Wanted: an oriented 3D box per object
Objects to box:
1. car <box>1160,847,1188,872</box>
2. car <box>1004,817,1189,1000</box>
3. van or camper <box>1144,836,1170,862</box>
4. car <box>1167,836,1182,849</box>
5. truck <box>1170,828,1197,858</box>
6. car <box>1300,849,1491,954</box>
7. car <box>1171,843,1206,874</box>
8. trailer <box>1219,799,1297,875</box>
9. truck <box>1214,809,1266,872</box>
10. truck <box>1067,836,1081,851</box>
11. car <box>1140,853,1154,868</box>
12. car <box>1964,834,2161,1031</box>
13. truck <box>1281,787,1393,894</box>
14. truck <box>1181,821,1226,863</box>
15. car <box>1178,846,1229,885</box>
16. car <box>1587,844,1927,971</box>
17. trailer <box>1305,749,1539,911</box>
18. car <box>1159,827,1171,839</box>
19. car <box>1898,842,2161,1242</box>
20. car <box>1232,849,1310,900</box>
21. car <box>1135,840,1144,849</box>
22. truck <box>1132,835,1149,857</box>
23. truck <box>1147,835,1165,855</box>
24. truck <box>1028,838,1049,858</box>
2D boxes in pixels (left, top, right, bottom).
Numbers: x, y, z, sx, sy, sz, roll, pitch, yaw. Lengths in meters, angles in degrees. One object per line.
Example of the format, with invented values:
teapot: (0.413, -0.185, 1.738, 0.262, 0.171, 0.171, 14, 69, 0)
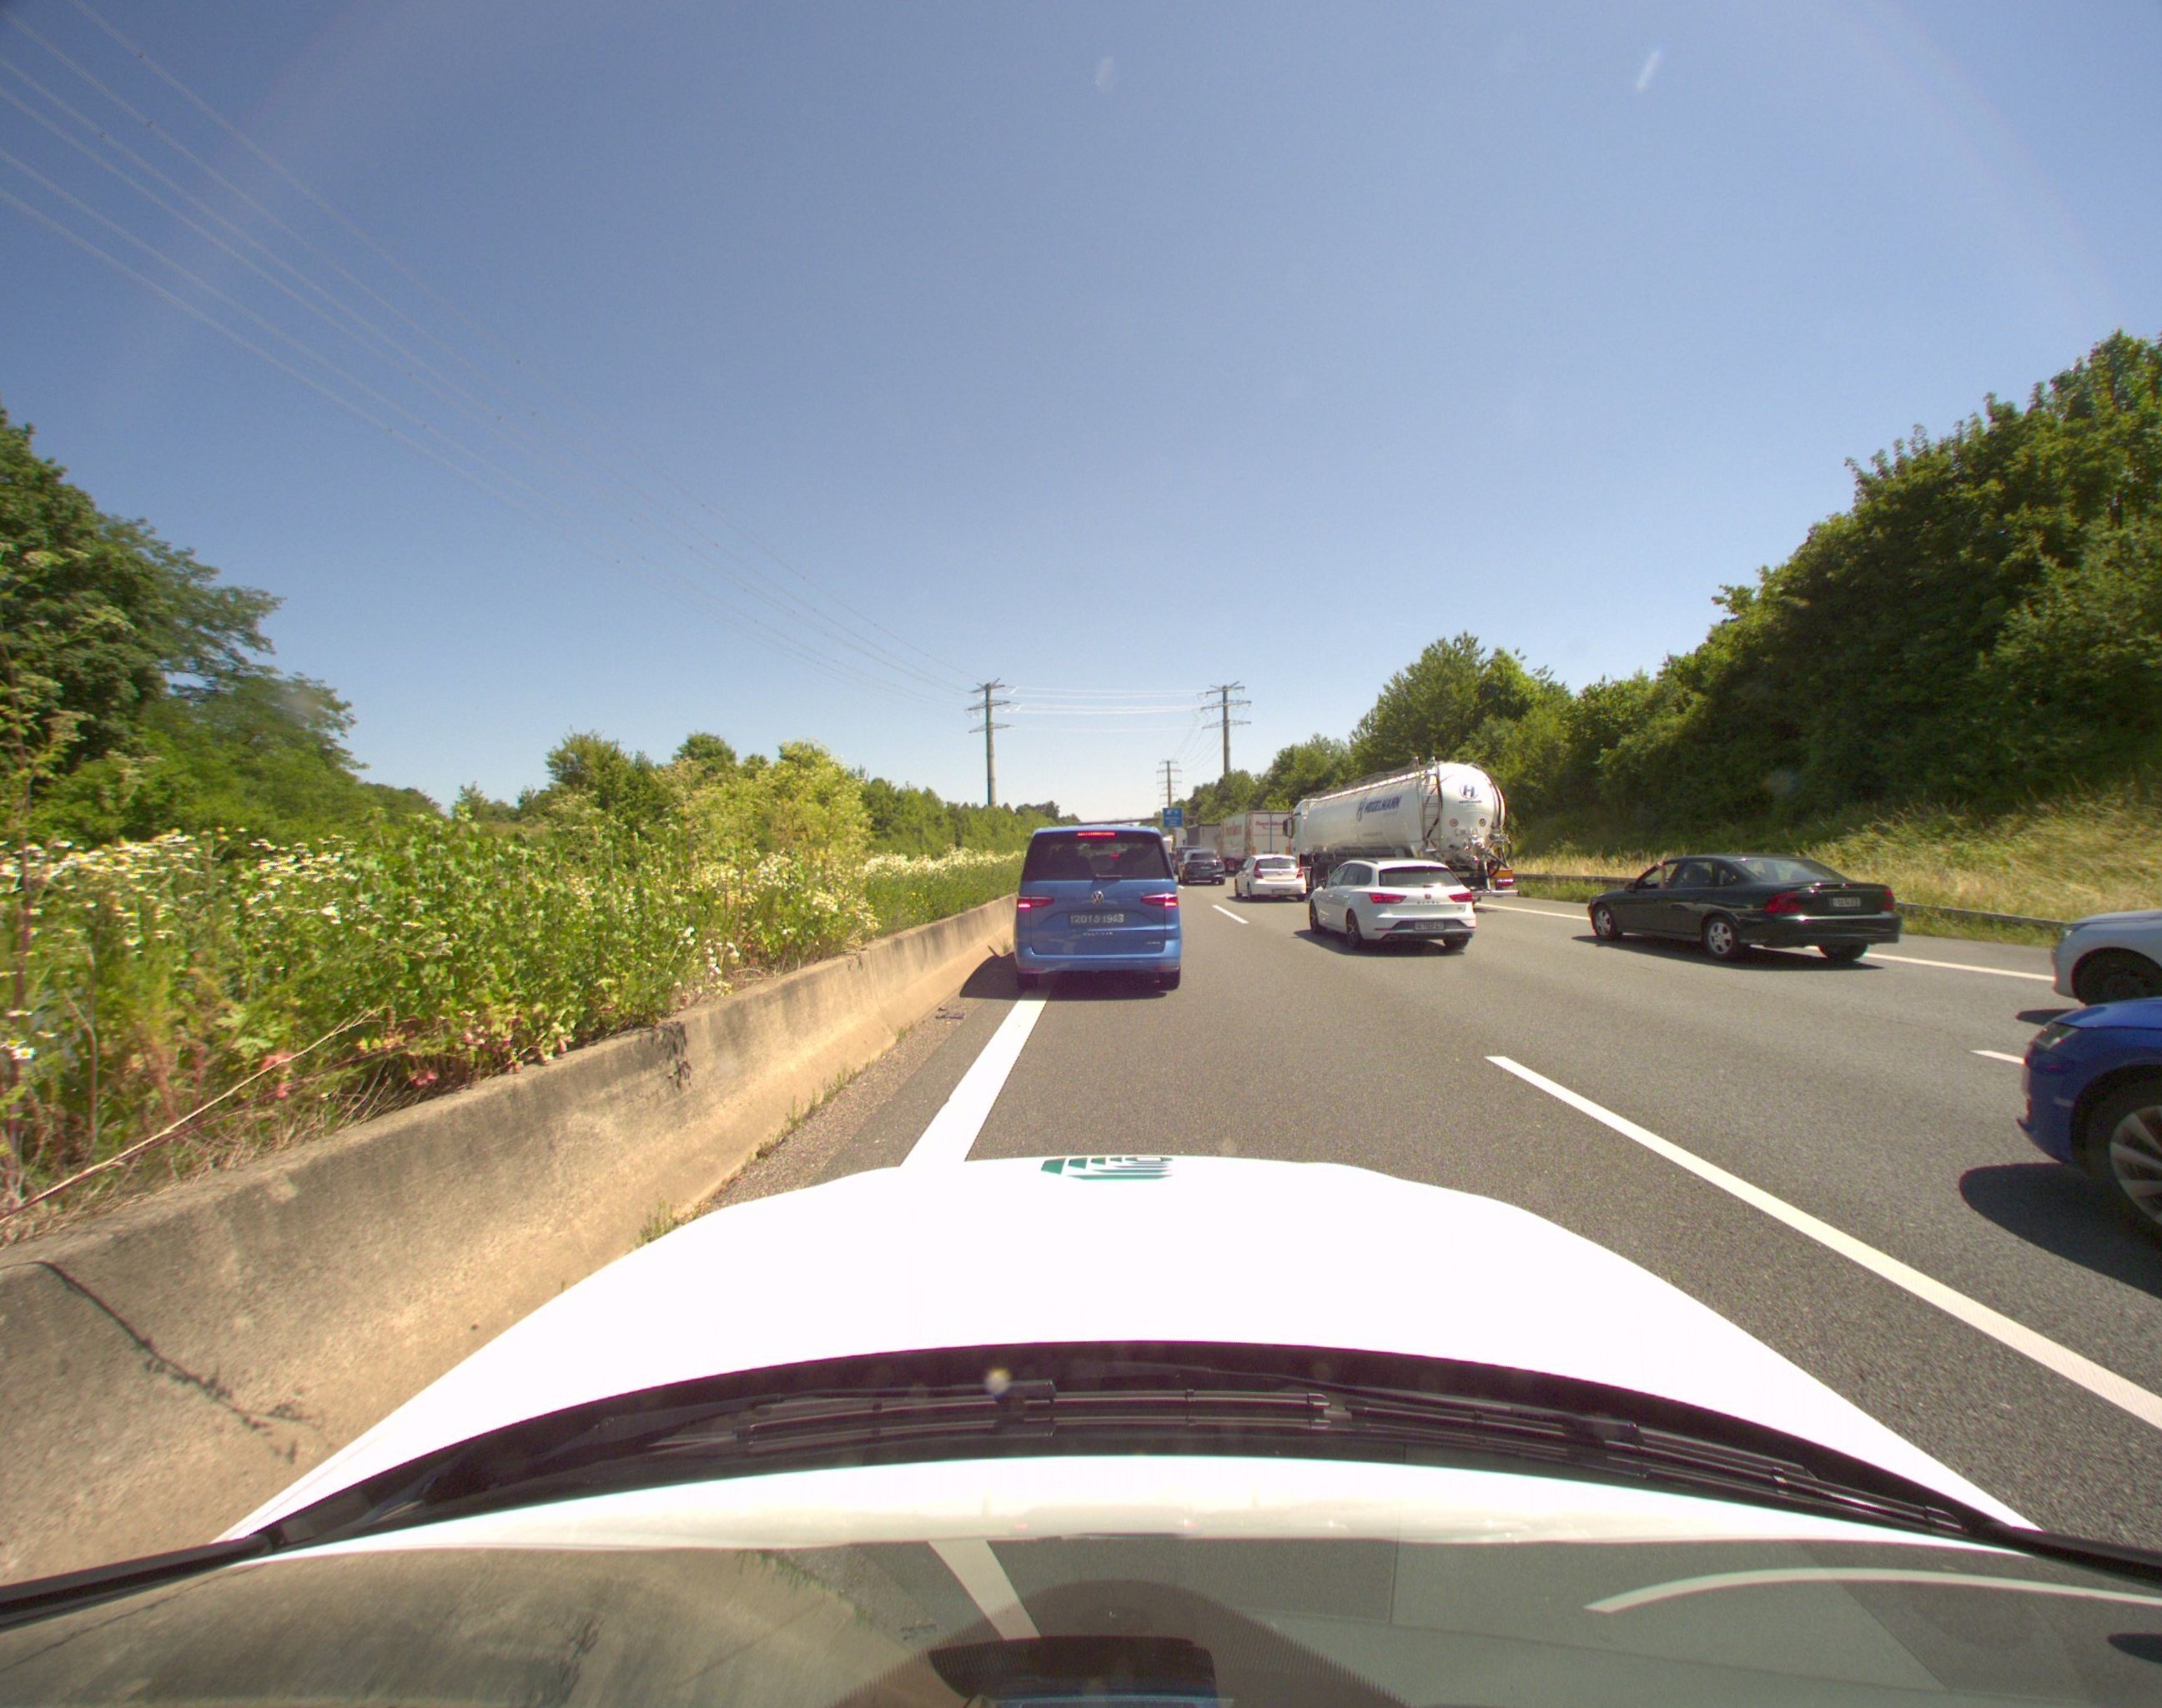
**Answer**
car: (7.794, 0.460, 68.766, 1.916, 1.925, 4.237, -3, -1, 2)
car: (0.256, 0.571, 10.511, 1.912, 1.886, 4.003, -1, 0, 3)
van or camper: (9.259, -0.554, 99.972, 2.944, 3.022, 7.110, -2, -1, 4)
car: (15.027, -1.839, 130.816, 1.985, 2.014, 4.003, -2, -1, 3)
truck: (14.252, -1.446, 114.268, 2.883, 3.766, 13.356, -2, -1, 3)
car: (5.084, 0.721, 13.835, 1.740, 1.443, 4.317, -2, -1, 3)
car: (7.394, 0.333, 56.394, 1.916, 1.925, 4.237, -3, -1, 2)
trailer: (11.729, -0.990, 55.346, 2.901, 4.469, 12.160, -2, 0, 2)
truck: (11.981, -0.953, 61.772, 2.901, 4.469, 5.145, -2, -1, 2)
truck: (-1.840, -2.685, 215.958, 3.160, 3.819, 11.951, -1, 0, 3)
car: (9.342, 0.980, 115.112, 1.828, 1.998, 4.004, -3, -1, 4)
car: (8.963, 0.582, 5.492, 1.724, 1.443, 4.030, -2, 0, 2)
truck: (10.143, -0.487, 32.882, 2.782, 3.836, 5.574, -2, 0, 2)
truck: (12.278, -1.027, 83.134, 2.993, 3.766, 15.726, -2, -1, 3)
car: (5.904, 0.564, 39.868, 1.991, 1.715, 4.629, -2, -1, 3)
car: (9.231, 0.665, 11.638, 1.634, 1.416, 3.992, -3, -1, 3)
trailer: (9.854, -0.551, 25.517, 2.750, 3.845, 11.491, -2, 0, 2)
car: (15.516, -3.829, 151.097, 1.985, 2.014, 4.003, -2, -1, 3)
car: (4.747, 0.628, 1.548, 1.770, 1.416, 4.572, -3, -1, 1)
car: (6.128, 0.653, 26.708, 1.809, 1.485, 4.004, -2, -1, 4)
car: (14.978, -2.330, 209.235, 1.986, 2.126, 4.002, -2, -1, 2)
truck: (10.755, -1.382, 148.265, 2.883, 3.766, 10.149, -2, -1, 3)
truck: (18.006, -2.159, 196.301, 3.552, 4.517, 10.298, -2, -1, 2)
truck: (-8.192, -1.084, 159.430, 2.900, 3.819, 11.951, -1, 0, 3)
